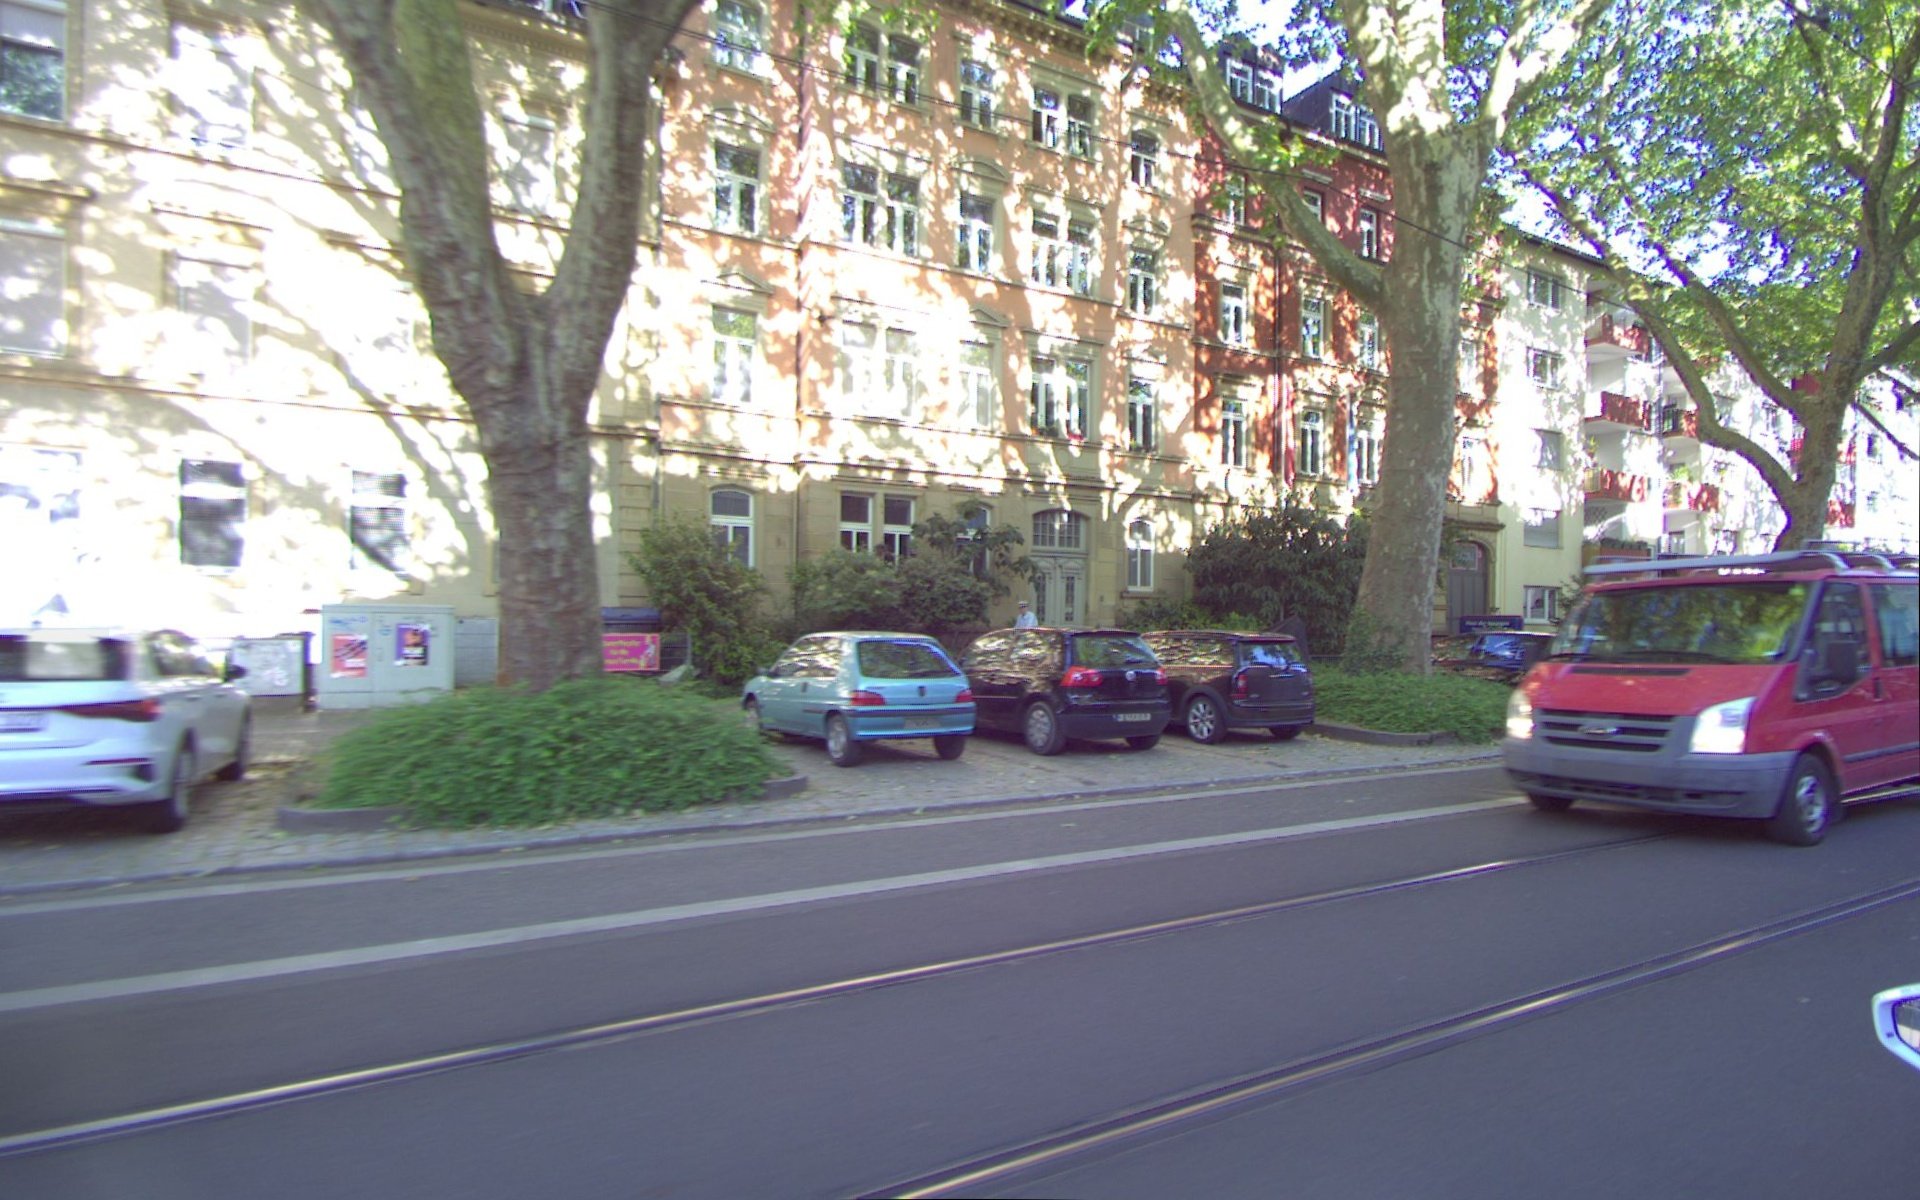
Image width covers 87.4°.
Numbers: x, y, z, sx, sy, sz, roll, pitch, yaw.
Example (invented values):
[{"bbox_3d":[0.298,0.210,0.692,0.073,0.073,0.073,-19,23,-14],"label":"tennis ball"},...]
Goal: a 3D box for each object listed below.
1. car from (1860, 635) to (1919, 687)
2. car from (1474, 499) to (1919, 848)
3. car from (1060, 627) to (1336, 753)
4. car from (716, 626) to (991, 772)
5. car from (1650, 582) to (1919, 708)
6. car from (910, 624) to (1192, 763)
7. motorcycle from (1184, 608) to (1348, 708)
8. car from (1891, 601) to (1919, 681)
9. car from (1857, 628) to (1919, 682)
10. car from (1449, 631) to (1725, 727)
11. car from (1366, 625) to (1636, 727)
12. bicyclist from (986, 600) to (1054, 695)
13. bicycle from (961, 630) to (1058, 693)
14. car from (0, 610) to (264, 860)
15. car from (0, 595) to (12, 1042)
[{"bbox_3d":[27.939,1.722,27.618,1.910,1.403,4.391,1,-1,-29],"label":"car"},{"bbox_3d":[6.786,0.561,8.554,4.901,2.256,1.909,1,-3,-30],"label":"car"},{"bbox_3d":[3.208,1.153,14.336,1.682,1.479,3.973,1,-1,-27],"label":"car"},{"bbox_3d":[-1.427,1.031,11.937,1.589,1.387,3.962,1,-1,-34],"label":"car"},{"bbox_3d":[19.428,0.931,22.960,2.136,2.570,5.717,1,0,-28],"label":"car"},{"bbox_3d":[0.997,1.073,13.046,1.748,1.479,3.970,1,-1,-28],"label":"car"},{"bbox_3d":[5.563,1.032,18.196,2.976,1.653,1.047,2,0,-30],"label":"motorcycle"},{"bbox_3d":[31.890,1.278,30.216,2.031,2.510,5.338,1,-1,-28],"label":"car"},{"bbox_3d":[29.471,1.638,29.466,1.849,1.559,4.352,1,-1,-29],"label":"car"},{"bbox_3d":[11.373,1.355,18.502,1.807,1.516,3.971,1,-1,-28],"label":"car"},{"bbox_3d":[9.051,1.199,17.123,1.683,1.479,3.778,1,-1,-28],"label":"car"},{"bbox_3d":[1.159,0.900,19.457,1.036,1.786,0.826,1,-1,-30],"label":"bicyclist"},{"bbox_3d":[0.957,1.173,19.398,1.759,1.154,0.739,1,-1,-30],"label":"bicycle"},{"bbox_3d":[-6.697,0.824,7.684,1.856,1.479,3.969,1,-1,-29],"label":"car"},{"bbox_3d":[-4.434,0.699,1.768,3.680,1.530,1.709,1,-1,-31],"label":"car"}]
